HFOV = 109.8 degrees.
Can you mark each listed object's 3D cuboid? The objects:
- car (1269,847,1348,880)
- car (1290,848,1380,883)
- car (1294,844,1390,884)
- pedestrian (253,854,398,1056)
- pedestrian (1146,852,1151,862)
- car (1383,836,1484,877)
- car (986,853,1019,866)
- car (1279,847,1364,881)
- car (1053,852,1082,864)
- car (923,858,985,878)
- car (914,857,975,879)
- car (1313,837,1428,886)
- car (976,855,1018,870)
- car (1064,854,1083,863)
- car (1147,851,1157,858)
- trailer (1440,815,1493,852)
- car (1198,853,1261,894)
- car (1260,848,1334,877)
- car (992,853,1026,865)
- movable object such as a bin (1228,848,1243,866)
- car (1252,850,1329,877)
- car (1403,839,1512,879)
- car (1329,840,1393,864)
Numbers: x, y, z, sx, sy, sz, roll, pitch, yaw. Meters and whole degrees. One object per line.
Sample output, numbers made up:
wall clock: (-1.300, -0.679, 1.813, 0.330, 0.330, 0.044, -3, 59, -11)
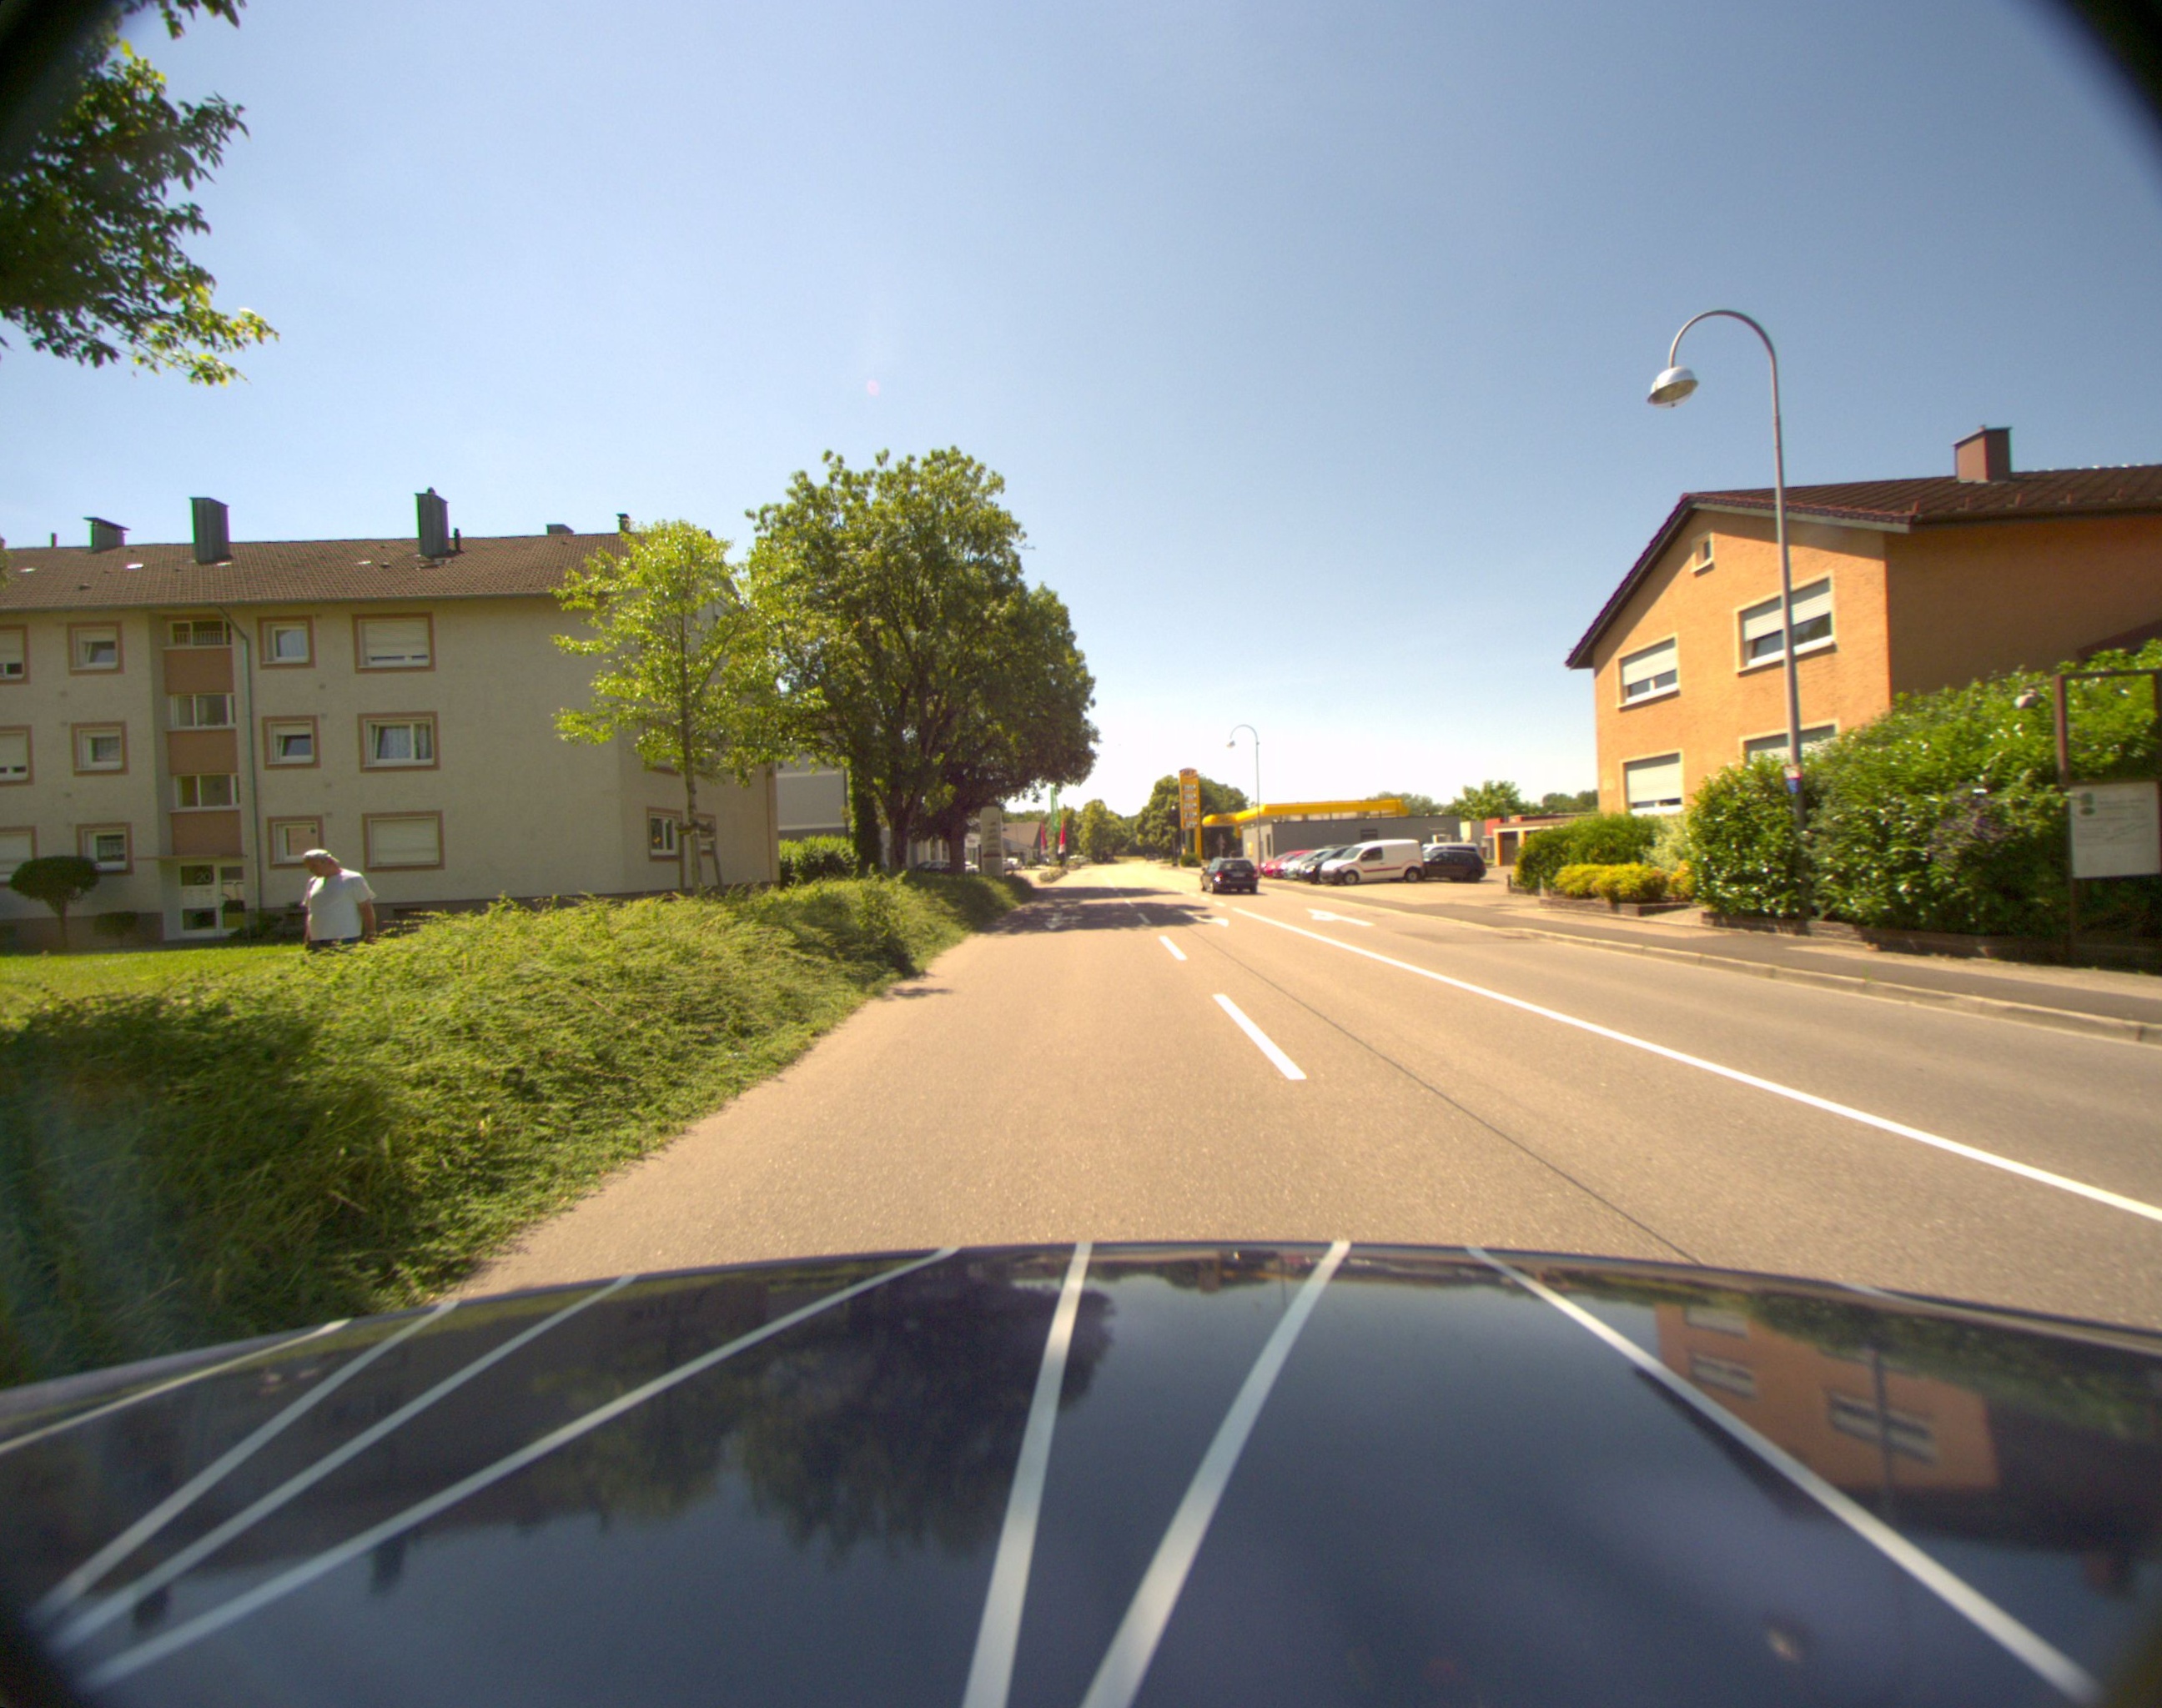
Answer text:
car: (12.265, 0.491, 41.168, 3.673, 1.596, 1.881, -2, 1, -1)
car: (12.264, 0.516, 36.868, 3.673, 1.523, 1.922, -2, 1, -1)
car: (11.824, 0.442, 34.600, 3.673, 1.663, 1.922, -2, 1, -1)
pedestrian: (-7.459, 0.962, 7.532, 0.705, 1.903, 0.660, -2, 1, 4)
pedestrian: (11.555, 0.483, 130.768, 0.730, 1.779, 0.621, -2, 1, 14)
car: (16.930, 0.121, 36.643, 3.912, 1.850, 2.000, -1, 0, -1)
car: (-10.097, 0.752, 97.957, 3.859, 1.524, 1.680, -1, 1, 19)
car: (12.283, 0.472, 38.976, 3.673, 1.572, 1.922, -2, 1, -1)
car: (-2.272, 0.666, 126.259, 4.522, 1.658, 1.895, -2, 0, 10)
car: (-9.781, 1.040, 58.558, 4.362, 1.363, 1.952, -2, 1, -21)
car: (-9.759, 0.999, 54.603, 3.997, 1.541, 1.797, -1, 1, 1)
car: (12.328, 0.304, 32.497, 4.105, 1.887, 1.999, -2, 1, -4)
car: (-10.289, 1.045, 92.808, 4.586, 1.632, 2.003, -2, 1, 20)
car: (-1.399, 0.766, 137.726, 3.405, 1.497, 1.582, -2, 0, 2)
car: (16.388, 0.172, 175.101, 1.973, 1.662, 4.251, -1, 0, 7)
trailer: (34.958, -1.791, 69.163, 1.869, 3.200, 5.914, -2, 0, 2)
car: (5.922, 0.730, 30.766, 1.714, 1.486, 4.277, -2, 0, 0)
car: (12.388, 0.475, 43.735, 3.673, 1.449, 1.892, -2, 1, -1)
car: (-9.418, 0.697, 99.990, 3.992, 1.452, 1.807, -2, 1, 17)
movable object such as a bin: (14.108, 0.279, 69.375, 0.954, 1.508, 1.428, -6, -1, 2)
car: (12.616, 0.549, 45.931, 4.136, 1.435, 1.827, -2, 1, 0)
car: (17.029, 0.245, 34.513, 3.997, 1.559, 1.830, -3, 0, -1)
car: (20.315, -0.153, 55.234, 3.996, 1.575, 1.754, -2, 1, 4)
